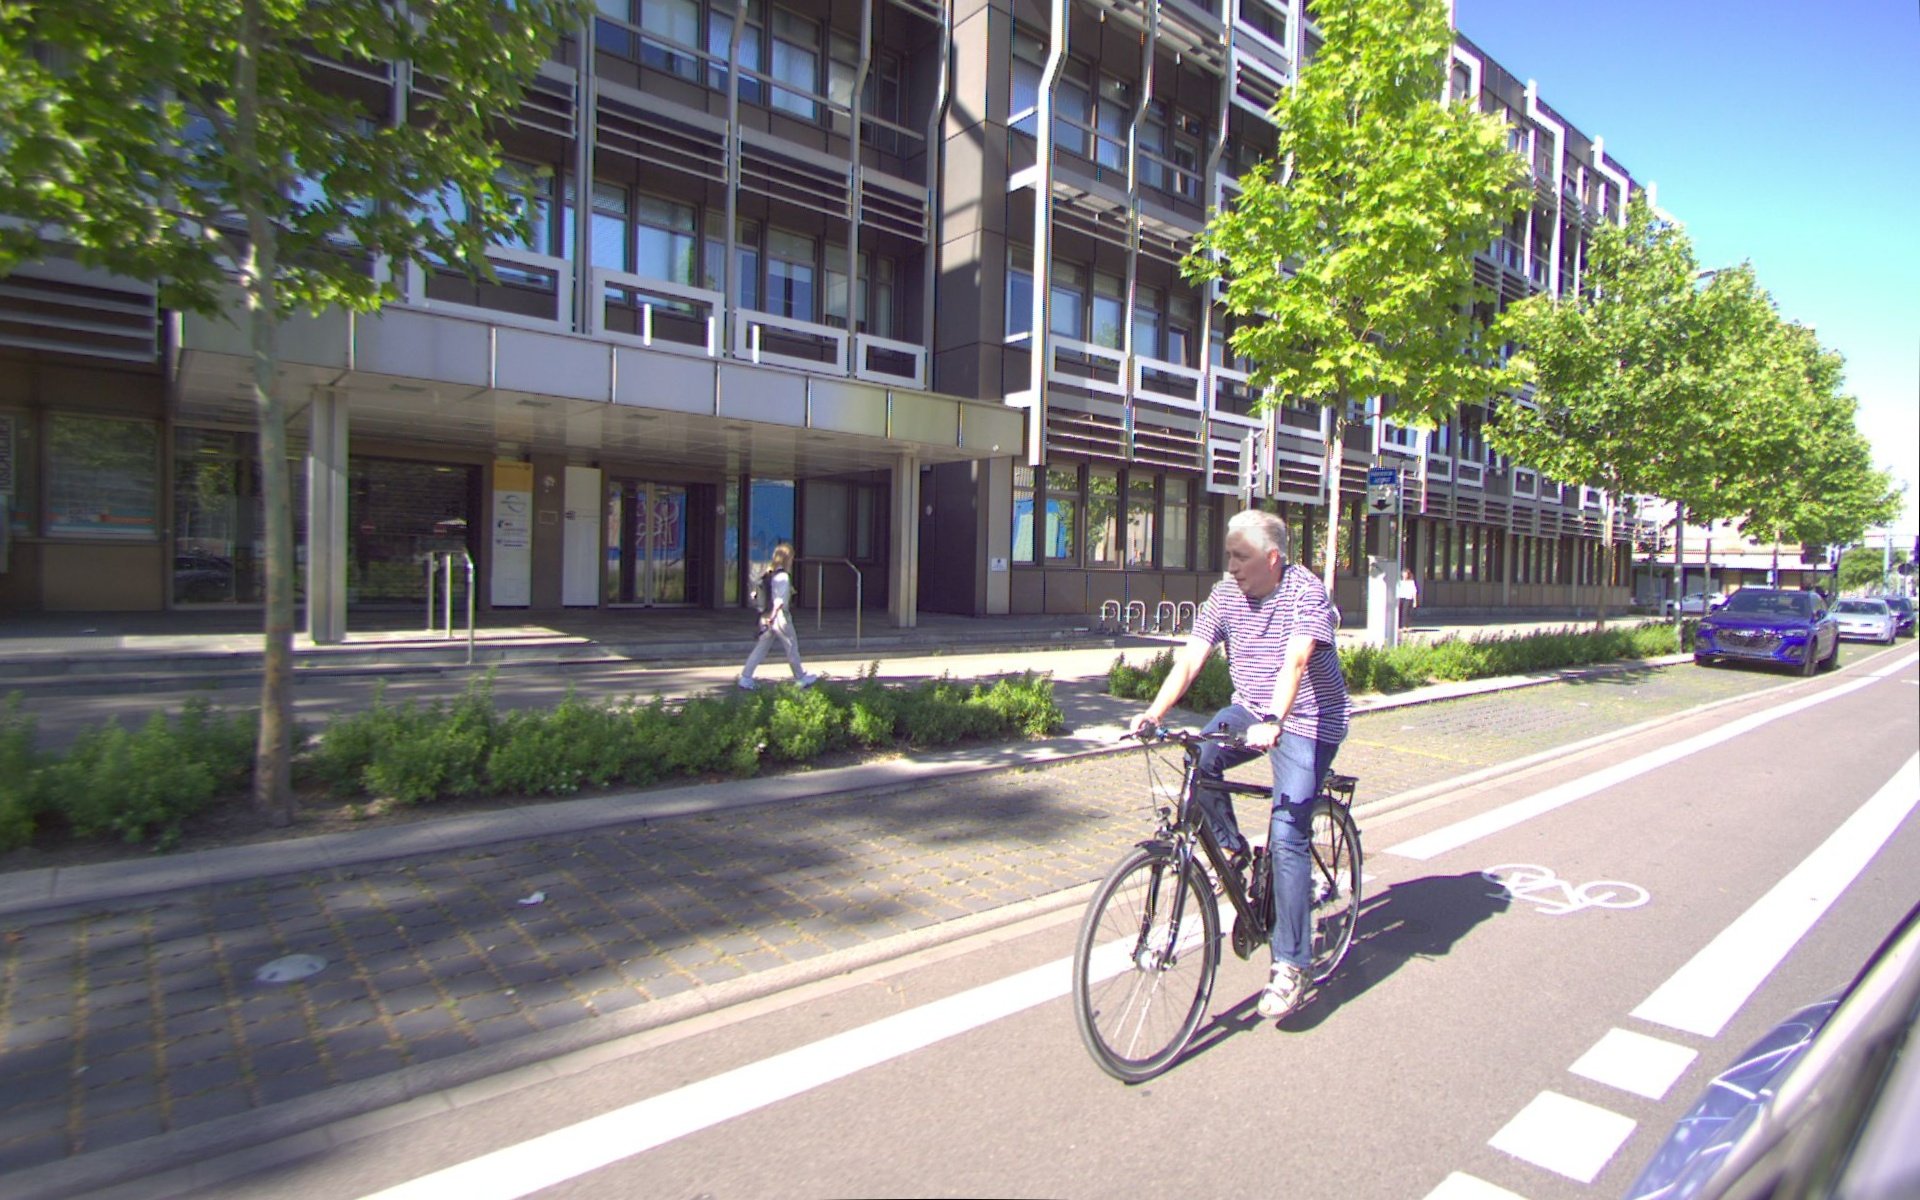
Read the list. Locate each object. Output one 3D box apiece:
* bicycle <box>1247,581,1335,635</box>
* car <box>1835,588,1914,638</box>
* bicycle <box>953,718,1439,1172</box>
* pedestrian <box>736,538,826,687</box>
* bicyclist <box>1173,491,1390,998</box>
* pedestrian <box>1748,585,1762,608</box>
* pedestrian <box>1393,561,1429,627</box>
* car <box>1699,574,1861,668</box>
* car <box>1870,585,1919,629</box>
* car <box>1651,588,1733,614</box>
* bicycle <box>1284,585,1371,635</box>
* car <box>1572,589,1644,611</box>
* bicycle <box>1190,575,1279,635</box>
[{"bbox_3d":[7.100,0.148,21.798,0.419,1.023,1.864,0,4,-37],"label":"bicycle"},{"bbox_3d":[30.239,0.387,33.422,4.087,1.483,1.620,0,3,-44],"label":"car"},{"bbox_3d":[0.931,0.947,3.398,2.160,0.917,0.498,1,-1,-44],"label":"bicycle"},{"bbox_3d":[-1.865,0.115,10.546,0.723,1.492,0.512,1,3,-40],"label":"pedestrian"},{"bbox_3d":[1.142,0.453,3.598,0.527,1.621,0.513,0,1,-43],"label":"bicyclist"},{"bbox_3d":[51.827,-0.235,65.986,0.679,1.468,0.536,2,1,38],"label":"pedestrian"},{"bbox_3d":[11.538,-0.148,25.894,0.662,1.642,0.512,1,3,-40],"label":"pedestrian"},{"bbox_3d":[17.126,0.364,21.047,4.765,1.677,1.853,0,3,-42],"label":"car"},{"bbox_3d":[38.533,0.276,41.388,1.748,1.679,4.398,2,2,44],"label":"car"},{"bbox_3d":[48.916,0.018,67.751,4.380,1.563,1.830,2,2,35],"label":"car"},{"bbox_3d":[8.170,0.205,22.578,0.419,0.950,1.864,0,4,-37],"label":"bicycle"},{"bbox_3d":[45.164,0.010,70.589,4.165,1.412,1.538,2,1,35],"label":"car"},{"bbox_3d":[5.693,0.086,21.078,0.419,1.111,1.864,0,4,-37],"label":"bicycle"}]
